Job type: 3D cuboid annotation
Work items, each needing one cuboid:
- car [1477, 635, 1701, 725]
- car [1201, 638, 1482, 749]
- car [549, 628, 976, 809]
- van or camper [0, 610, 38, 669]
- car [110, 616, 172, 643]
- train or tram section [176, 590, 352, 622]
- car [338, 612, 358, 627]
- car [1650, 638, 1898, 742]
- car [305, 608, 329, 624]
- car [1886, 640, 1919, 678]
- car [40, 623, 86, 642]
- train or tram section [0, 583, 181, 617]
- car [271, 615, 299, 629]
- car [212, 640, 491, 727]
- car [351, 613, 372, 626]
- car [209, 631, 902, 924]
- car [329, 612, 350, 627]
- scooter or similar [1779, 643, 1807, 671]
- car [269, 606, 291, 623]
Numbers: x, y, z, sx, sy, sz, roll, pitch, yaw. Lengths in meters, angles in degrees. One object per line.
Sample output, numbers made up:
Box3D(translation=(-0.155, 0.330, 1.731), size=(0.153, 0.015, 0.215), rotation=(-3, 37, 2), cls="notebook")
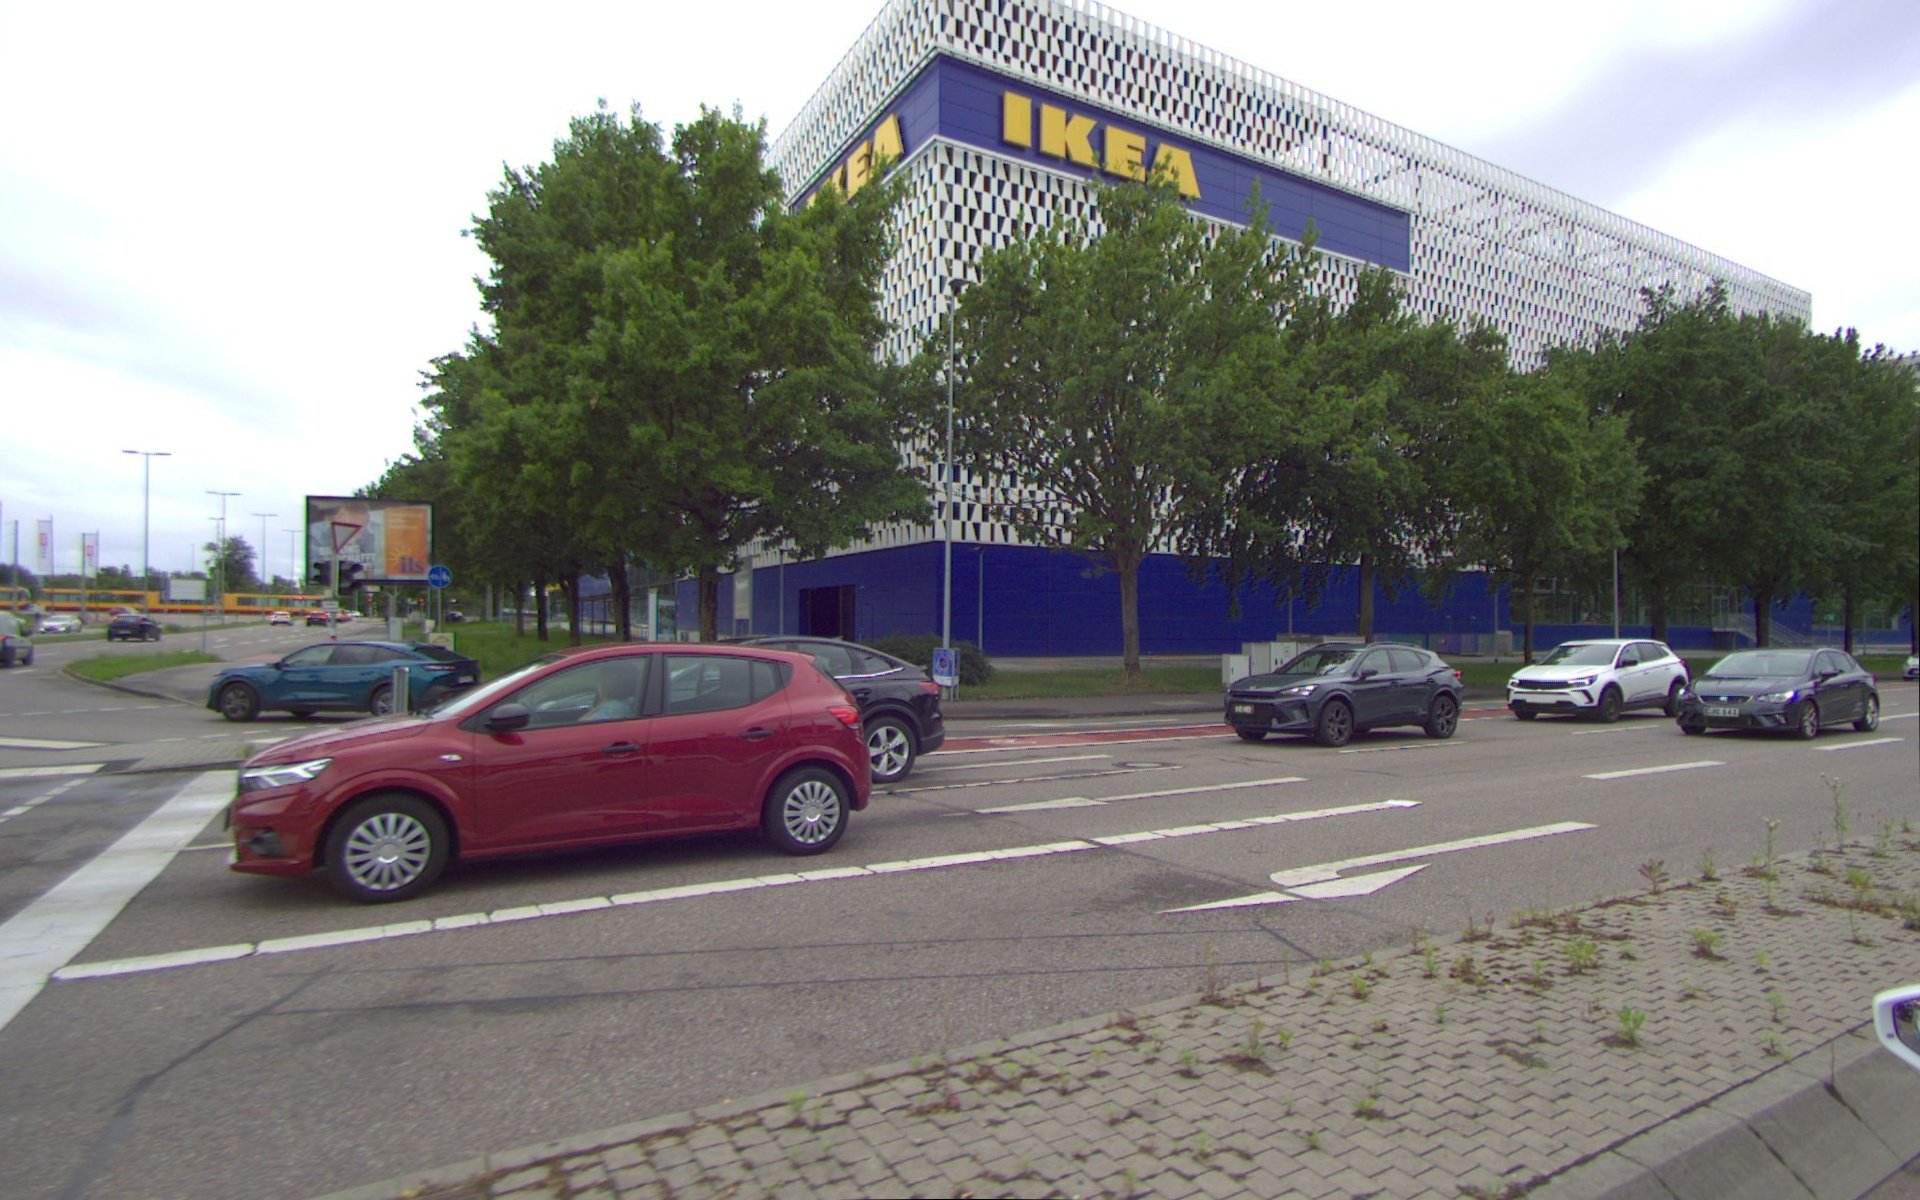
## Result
Box3D(translation=(13.005, 1.604, 20.727), size=(4.523, 1.615, 1.985), rotation=(0, -4, -31), cls="car")
Box3D(translation=(6.194, 1.436, 16.167), size=(4.548, 1.564, 1.870), rotation=(2, -4, -32), cls="car")
Box3D(translation=(-2.127, 1.199, 11.182), size=(4.286, 1.658, 1.871), rotation=(2, -5, -32), cls="car")
Box3D(translation=(-30.611, 1.232, 31.599), size=(1.982, 1.745, 4.346), rotation=(-1, 1, -38), cls="van or camper")
Box3D(translation=(-45.165, 1.637, 55.457), size=(1.704, 1.389, 3.975), rotation=(2, -2, -25), cls="car")
Box3D(translation=(-111.574, 0.933, 161.918), size=(23.013, 4.903, 3.603), rotation=(0, 0, -31), cls="train or tram section")
Box3D(translation=(-83.666, 2.659, 137.290), size=(1.822, 1.911, 3.902), rotation=(-1, -1, -24), cls="car")
Box3D(translation=(13.733, 1.434, 16.906), size=(4.281, 1.481, 1.849), rotation=(0, -3, -31), cls="car")
Box3D(translation=(-70.056, 1.713, 109.554), size=(1.826, 1.677, 4.328), rotation=(3, -1, -29), cls="car")
Box3D(translation=(41.121, 2.448, 42.202), size=(4.275, 1.481, 1.851), rotation=(0, -3, -27), cls="car")
Box3D(translation=(-74.890, 2.687, 83.949), size=(1.779, 1.434, 4.191), rotation=(-1, 0, -26), cls="car")
Box3D(translation=(-131.382, -0.038, 150.282), size=(23.013, 4.903, 3.603), rotation=(0, 0, -31), cls="train or tram section")
Box3D(translation=(-72.624, 2.319, 108.091), size=(1.761, 1.471, 3.912), rotation=(2, -1, -22), cls="car")
Box3D(translation=(-11.049, 1.497, 18.460), size=(4.037, 1.507, 1.702), rotation=(0, -2, -1), cls="car")
Box3D(translation=(-86.076, 2.784, 144.526), size=(1.820, 1.742, 3.906), rotation=(-1, 1, -20), cls="car")
Box3D(translation=(-2.582, 1.022, 7.005), size=(4.033, 1.507, 1.726), rotation=(2, -3, -32), cls="car")
Box3D(translation=(-81.657, 2.561, 132.207), size=(1.823, 1.911, 3.902), rotation=(2, -2, -24), cls="car")
Box3D(translation=(39.082, 2.669, 47.116), size=(1.363, 1.212, 0.651), rotation=(0, 0, -33), cls="scooter or similar")
Box3D(translation=(-87.169, 1.869, 128.766), size=(1.976, 2.249, 3.969), rotation=(1, -1, -29), cls="car")
